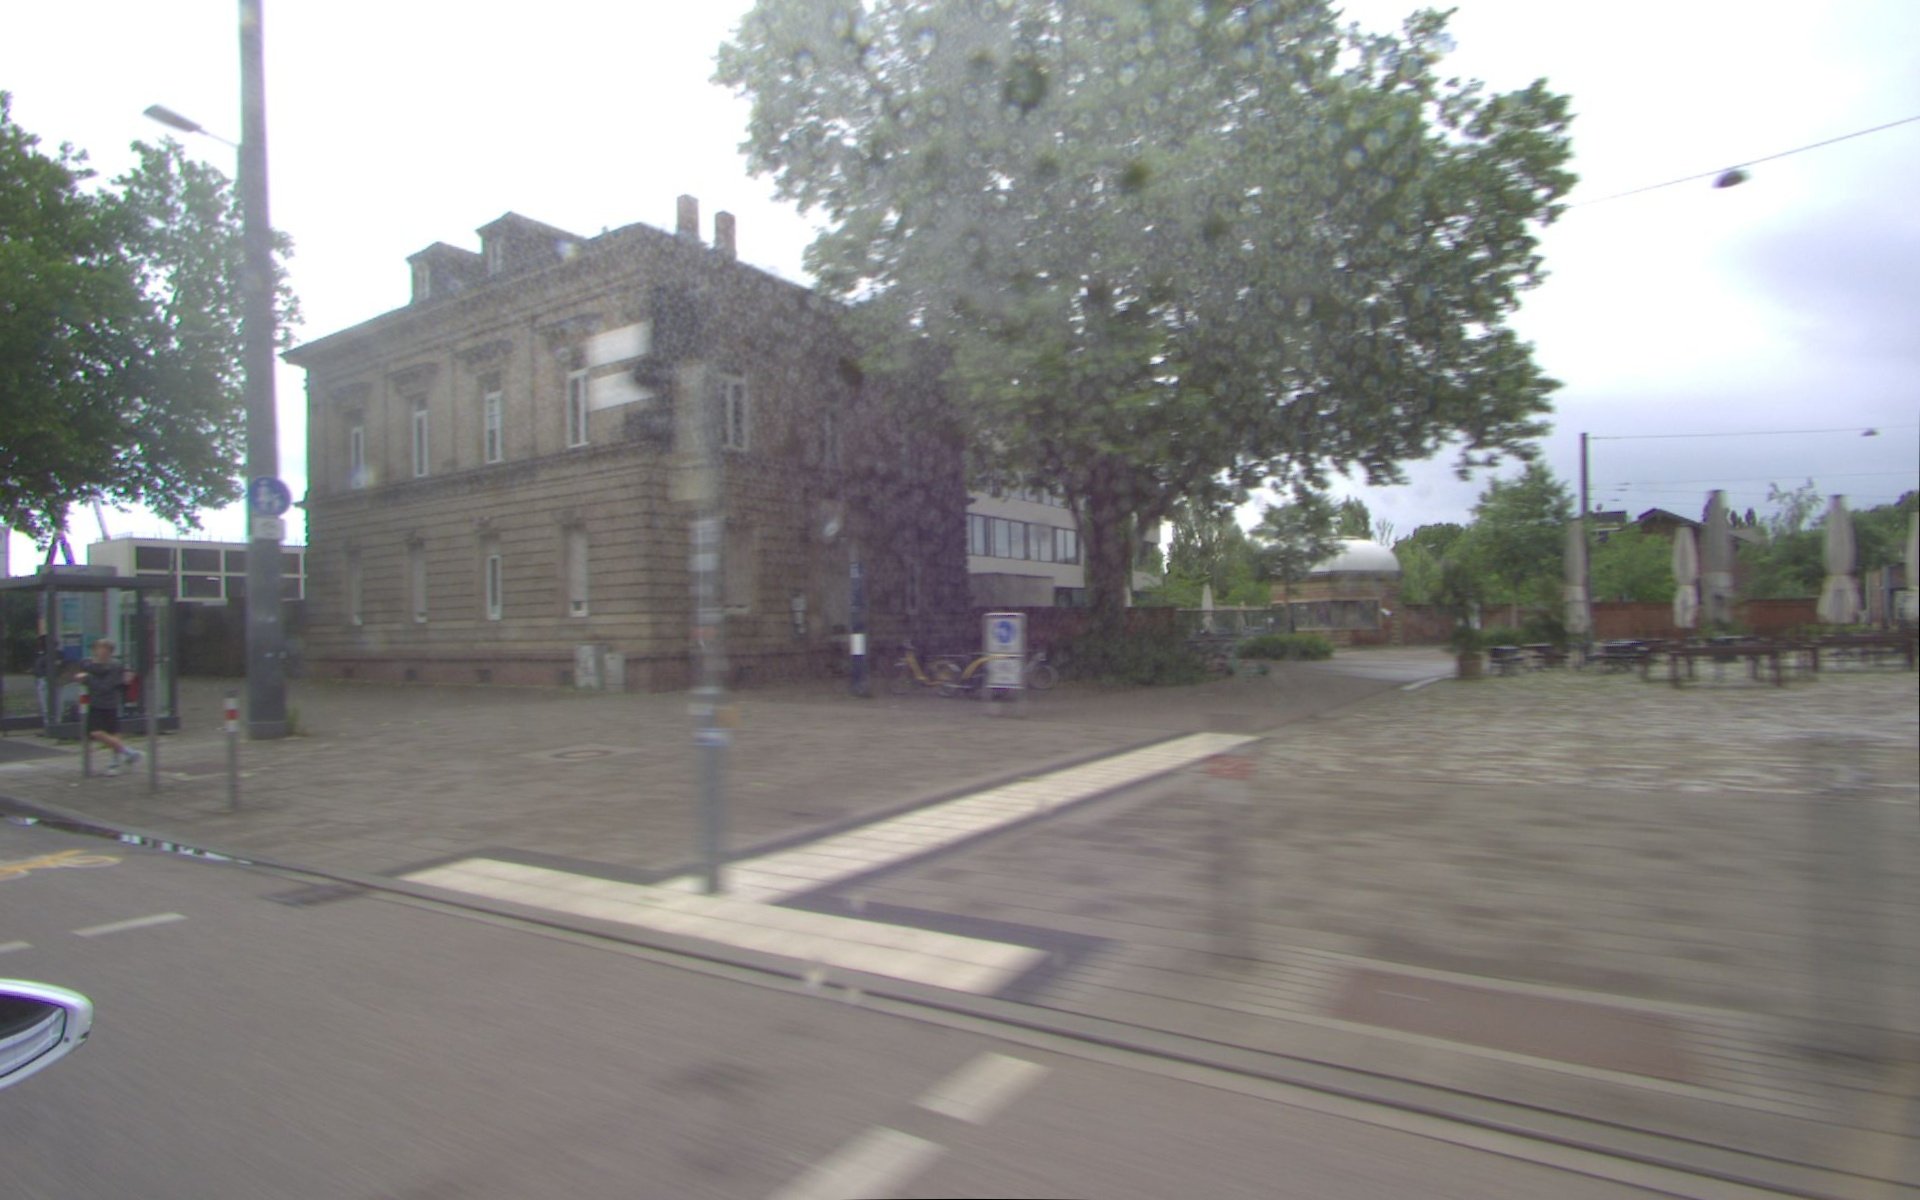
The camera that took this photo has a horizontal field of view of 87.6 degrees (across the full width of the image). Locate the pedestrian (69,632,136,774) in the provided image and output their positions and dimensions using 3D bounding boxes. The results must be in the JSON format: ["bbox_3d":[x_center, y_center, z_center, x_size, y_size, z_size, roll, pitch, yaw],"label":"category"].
[{"bbox_3d":[-9.809,1.155,11.470,0.547,1.548,0.633,-1,-1,-39],"label":"pedestrian"}]

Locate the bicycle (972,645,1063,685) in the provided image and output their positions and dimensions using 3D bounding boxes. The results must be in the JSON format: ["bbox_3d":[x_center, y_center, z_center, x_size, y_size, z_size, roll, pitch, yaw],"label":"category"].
[{"bbox_3d":[1.327,1.496,23.275,2.052,0.883,0.608,-2,-1,32],"label":"bicycle"}]

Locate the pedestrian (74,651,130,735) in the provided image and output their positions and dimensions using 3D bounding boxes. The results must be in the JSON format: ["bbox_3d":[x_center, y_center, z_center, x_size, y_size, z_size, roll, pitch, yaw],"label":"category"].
[{"bbox_3d":[-13.320,1.433,15.541,0.693,1.250,0.475,-2,-1,33],"label":"pedestrian"}]

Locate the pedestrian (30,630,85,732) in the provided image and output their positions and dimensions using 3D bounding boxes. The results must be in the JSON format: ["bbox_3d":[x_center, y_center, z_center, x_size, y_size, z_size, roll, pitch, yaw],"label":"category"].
[{"bbox_3d":[-14.461,1.282,16.041,0.693,1.583,0.475,-2,-1,33],"label":"pedestrian"}]

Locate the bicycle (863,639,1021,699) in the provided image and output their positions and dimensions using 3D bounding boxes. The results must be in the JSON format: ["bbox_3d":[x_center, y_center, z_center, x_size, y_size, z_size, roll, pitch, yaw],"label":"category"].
[{"bbox_3d":[-0.422,1.409,21.002,3.356,1.082,0.899,1,0,32],"label":"bicycle"}]
